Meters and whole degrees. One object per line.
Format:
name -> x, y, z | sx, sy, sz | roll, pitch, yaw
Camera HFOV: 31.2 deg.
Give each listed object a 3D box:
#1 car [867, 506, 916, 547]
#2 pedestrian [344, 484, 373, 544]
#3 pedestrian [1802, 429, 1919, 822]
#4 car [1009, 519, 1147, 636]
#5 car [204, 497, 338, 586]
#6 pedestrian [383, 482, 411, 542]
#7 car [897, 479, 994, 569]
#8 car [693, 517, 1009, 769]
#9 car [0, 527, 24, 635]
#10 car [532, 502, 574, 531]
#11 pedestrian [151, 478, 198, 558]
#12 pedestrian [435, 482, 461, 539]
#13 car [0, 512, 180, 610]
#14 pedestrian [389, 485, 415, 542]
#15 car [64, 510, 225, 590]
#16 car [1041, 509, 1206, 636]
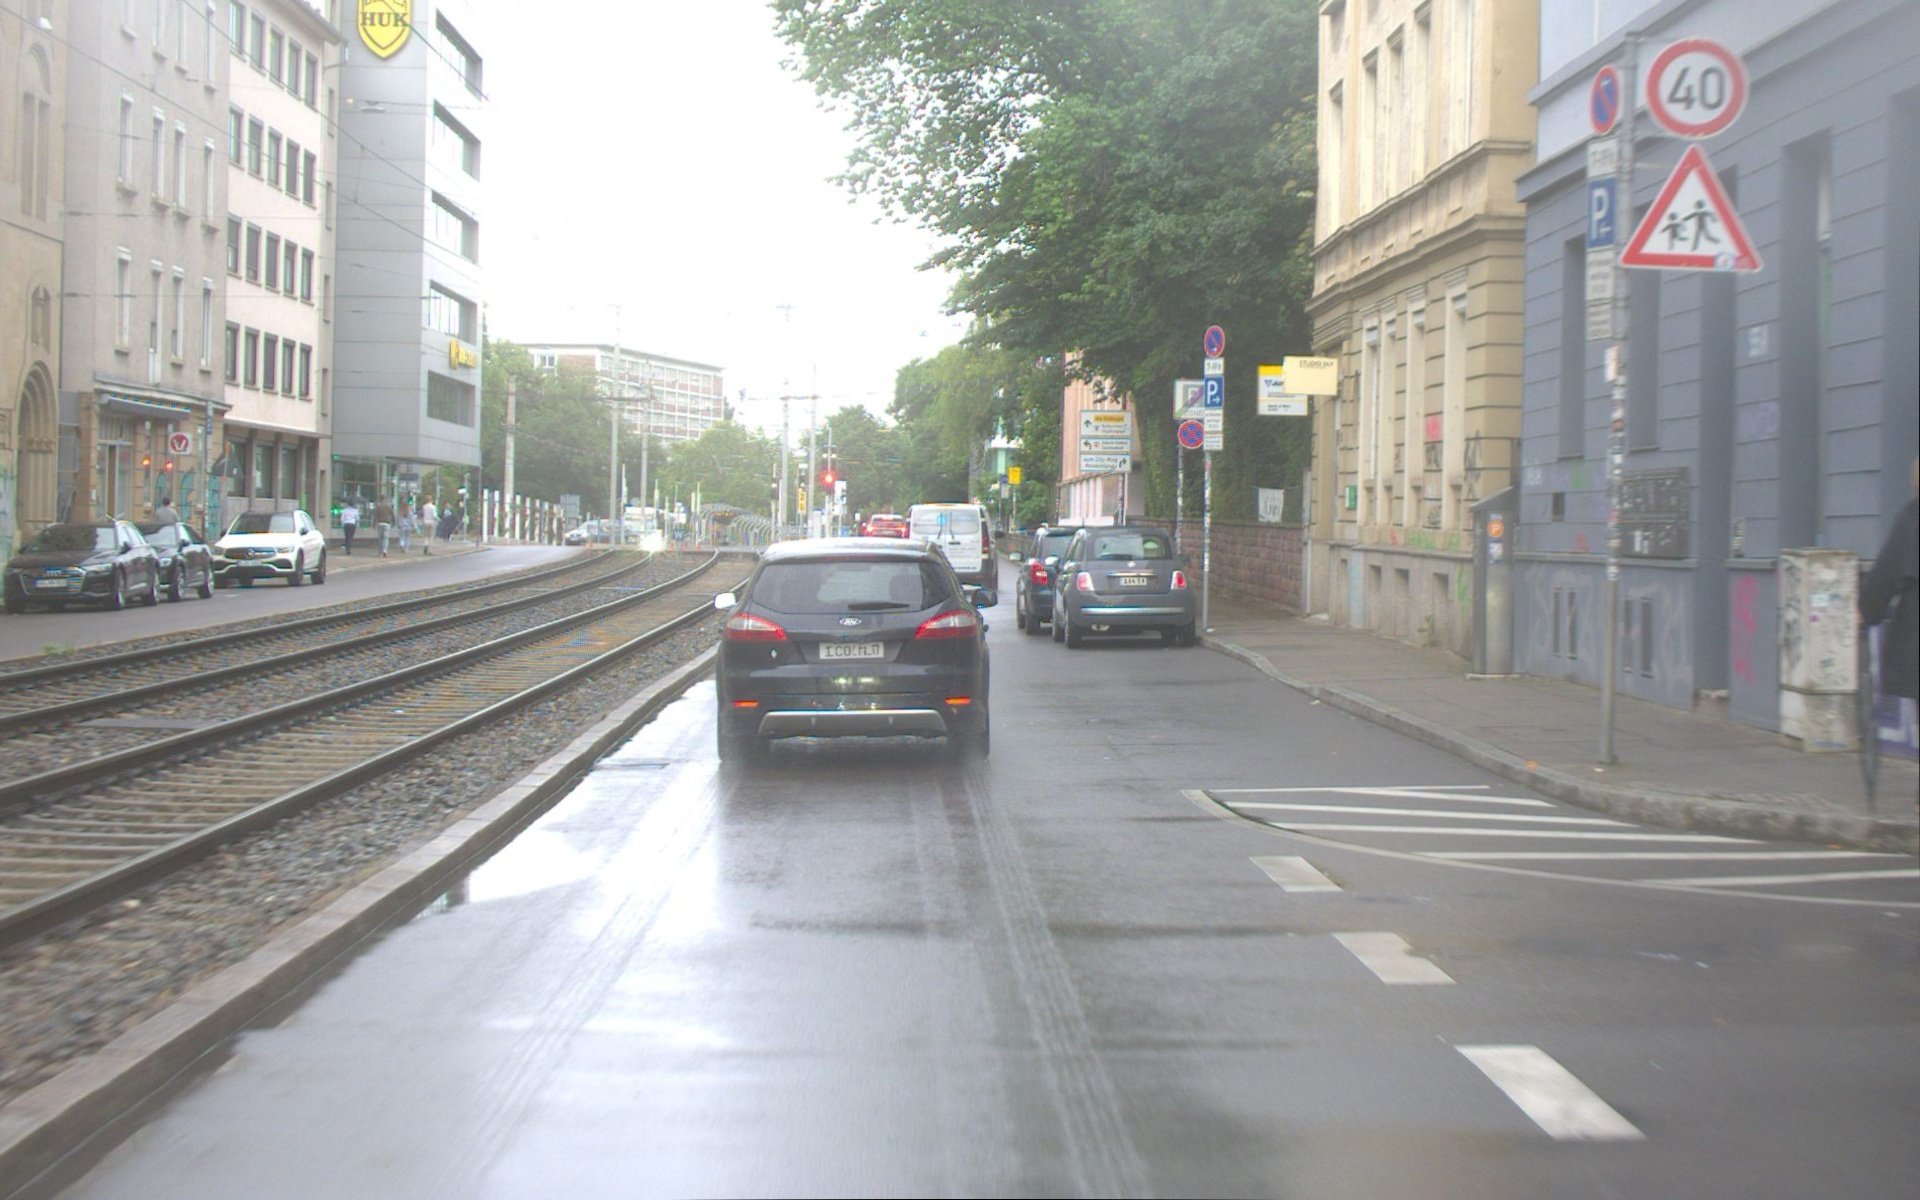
car -> -2.819, -3.043, 142.554 | 1.993, 1.588, 4.271 | 1, 0, 0
pedestrian -> -18.760, -2.684, 107.248 | 0.744, 1.847, 0.839 | 1, 0, -2
pedestrian -> 4.529, 0.112, 16.581 | 0.661, 1.845, 0.821 | 1, 2, -2
car -> 1.608, -0.348, 48.190 | 1.642, 1.510, 4.039 | 1, 2, -2
car -> -14.969, -1.284, 74.922 | 1.993, 1.833, 5.071 | 2, 1, -2
pedestrian -> -17.616, -2.740, 107.559 | 0.744, 1.847, 0.839 | 1, 0, -2
car -> -0.318, -1.578, 72.853 | 1.993, 1.810, 4.271 | 1, 0, 0
car -> -0.711, 0.262, 24.023 | 1.993, 1.588, 4.271 | 1, 0, 0
car -> -14.511, -0.264, 47.211 | 1.993, 1.514, 4.992 | 2, 1, -1
car -> -21.414, -4.376, 180.664 | 1.993, 1.437, 4.001 | 1, 2, -9
pedestrian -> -17.310, -1.806, 75.774 | 0.801, 1.744, 0.984 | 1, 1, -2
pedestrian -> -17.043, -2.975, 114.403 | 0.744, 1.847, 0.839 | 1, 0, -2
car -> -14.542, -0.675, 57.425 | 1.993, 1.514, 4.676 | 2, 1, -1
pedestrian -> -18.447, -2.864, 113.680 | 0.744, 1.847, 0.839 | 1, 0, -2
car -> -14.993, -0.941, 63.406 | 1.993, 1.371, 4.238 | 1, 1, -1
car -> 2.024, -0.381, 43.569 | 1.738, 1.484, 4.001 | 1, 2, -2
